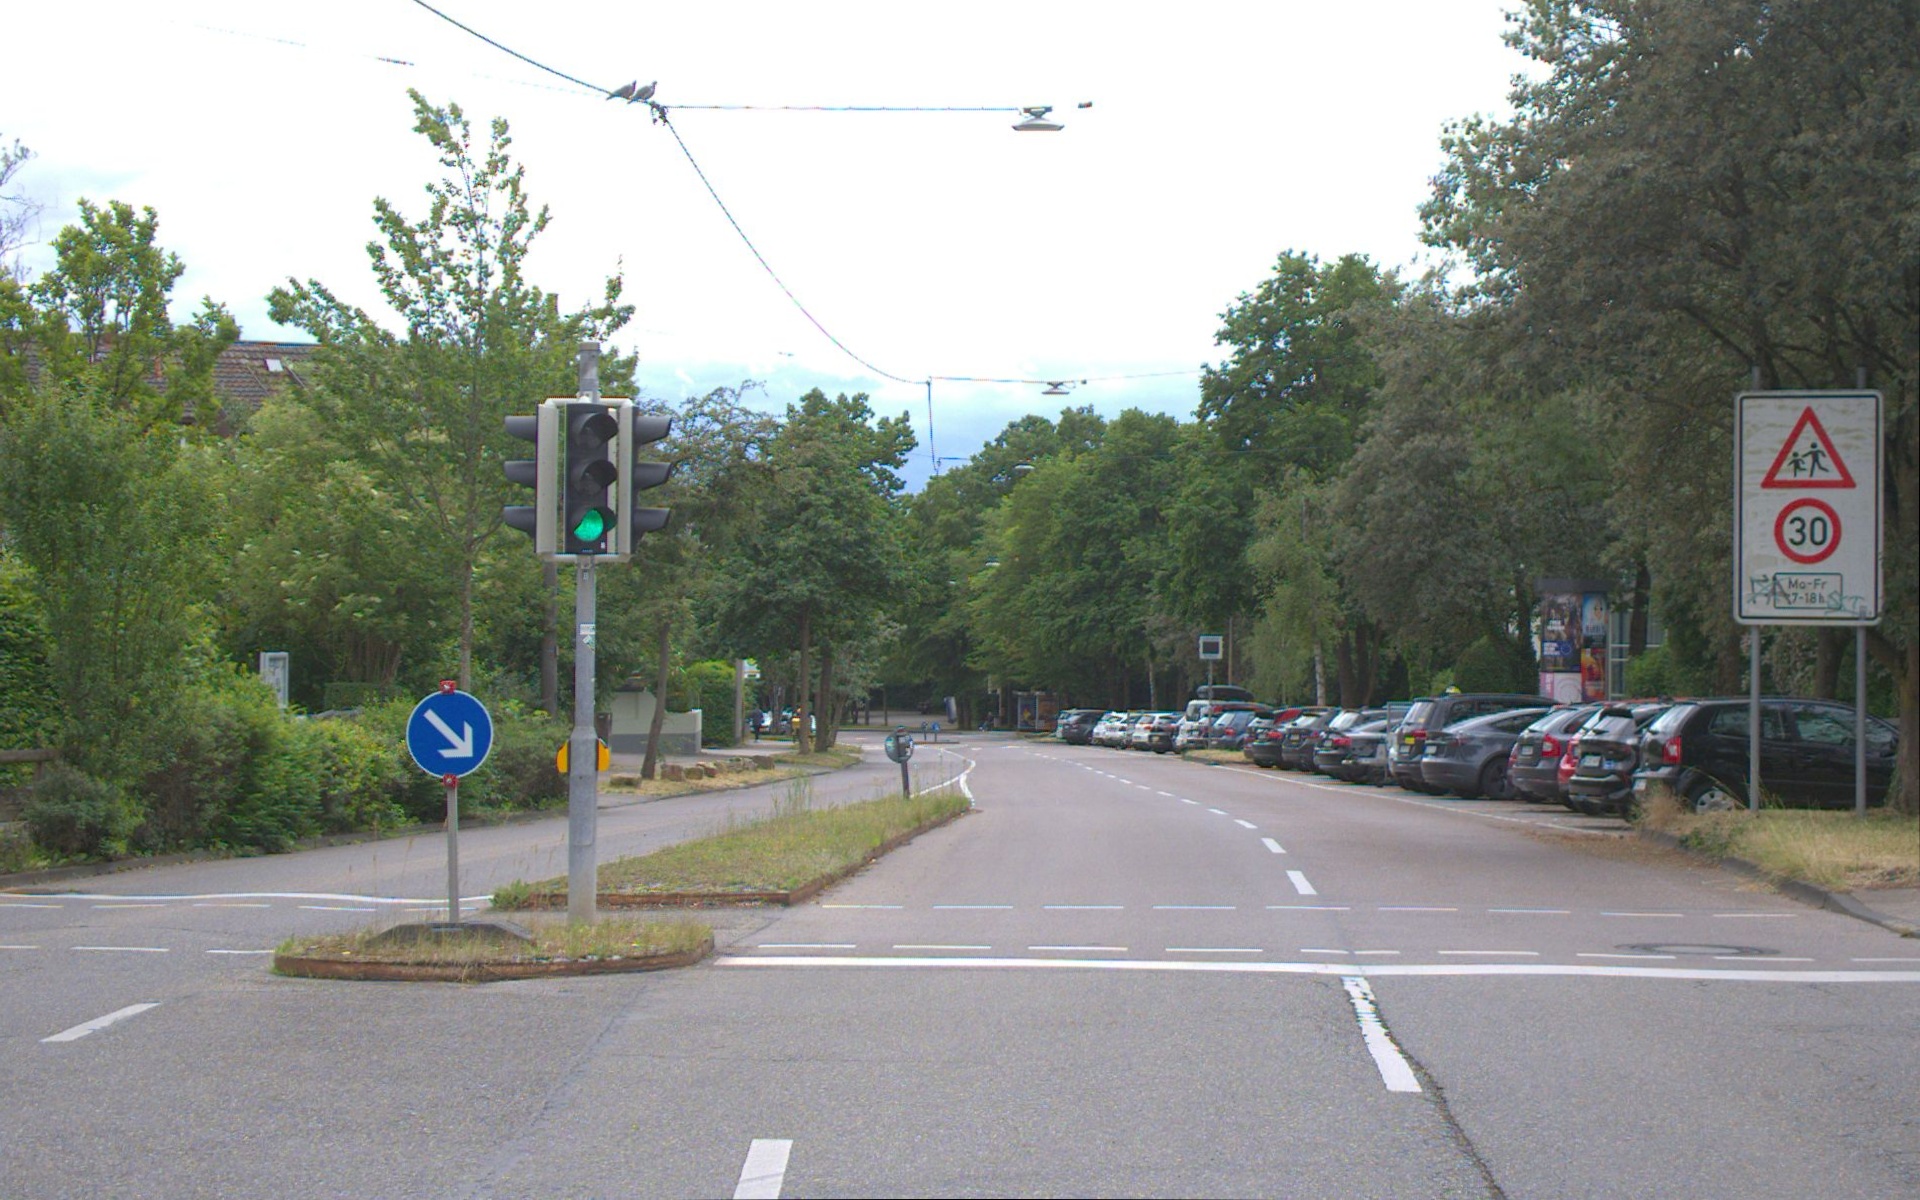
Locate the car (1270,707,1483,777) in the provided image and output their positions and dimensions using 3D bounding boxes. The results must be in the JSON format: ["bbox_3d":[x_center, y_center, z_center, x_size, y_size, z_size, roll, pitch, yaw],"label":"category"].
[{"bbox_3d":[9.175,3.121,75.765,4.343,1.441,1.634,2,-2,-14],"label":"car"}]

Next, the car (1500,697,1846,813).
[{"bbox_3d":[9.515,2.068,45.995,4.218,1.459,1.635,1,-2,-8],"label":"car"}]

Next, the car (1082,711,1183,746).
[{"bbox_3d":[7.281,5.432,145.382,3.883,1.424,1.744,2,-2,-19],"label":"car"}]

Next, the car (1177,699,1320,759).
[{"bbox_3d":[9.023,4.041,107.575,4.085,1.749,1.787,2,-2,-26],"label":"car"}]

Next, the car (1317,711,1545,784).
[{"bbox_3d":[8.980,2.821,65.632,4.036,1.323,1.559,1,-3,-8],"label":"car"}]

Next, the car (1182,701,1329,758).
[{"bbox_3d":[8.991,3.939,104.650,3.995,1.614,1.885,2,-2,-15],"label":"car"}]

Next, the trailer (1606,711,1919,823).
[{"bbox_3d":[9.656,2.001,41.214,3.401,1.262,1.616,1,-3,-9],"label":"trailer"}]

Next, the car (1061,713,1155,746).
[{"bbox_3d":[6.693,5.839,155.481,3.883,1.424,1.744,2,-2,-19],"label":"car"}]

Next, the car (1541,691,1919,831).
[{"bbox_3d":[8.785,1.807,38.634,4.134,1.471,1.576,1,-2,-10],"label":"car"}]

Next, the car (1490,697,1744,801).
[{"bbox_3d":[9.713,2.205,50.933,3.325,1.459,1.635,1,-2,-9],"label":"car"}]

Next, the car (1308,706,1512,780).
[{"bbox_3d":[9.298,2.958,71.167,3.839,1.450,1.634,1,-2,-11],"label":"car"}]

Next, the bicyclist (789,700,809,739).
[{"bbox_3d":[-7.147,5.294,152.449,0.845,1.692,0.713,1,-1,-1],"label":"bicyclist"}]

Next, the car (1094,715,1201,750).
[{"bbox_3d":[7.457,5.277,136.983,3.883,1.305,1.744,2,-2,-24],"label":"car"}]

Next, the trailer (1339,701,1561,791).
[{"bbox_3d":[9.005,2.686,63.288,3.687,1.530,1.646,2,-2,-11],"label":"trailer"}]

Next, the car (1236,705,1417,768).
[{"bbox_3d":[8.961,3.340,84.120,4.070,1.510,1.734,1,-2,-21],"label":"car"}]

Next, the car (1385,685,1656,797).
[{"bbox_3d":[9.056,2.285,55.664,3.985,1.719,1.681,1,-2,-9],"label":"car"}]

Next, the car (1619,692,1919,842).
[{"bbox_3d":[8.886,1.730,35.777,3.715,1.471,1.576,1,-1,-2],"label":"car"}]

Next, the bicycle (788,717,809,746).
[{"bbox_3d":[-7.155,5.820,152.379,0.845,1.262,2.652,1,-1,-1],"label":"bicycle"}]

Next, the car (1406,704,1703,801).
[{"bbox_3d":[9.125,2.344,52.867,4.158,1.402,1.698,1,-2,-10],"label":"car"}]

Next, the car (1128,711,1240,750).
[{"bbox_3d":[8.615,5.027,132.258,3.883,1.444,1.744,2,-2,-21],"label":"car"}]

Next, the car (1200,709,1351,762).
[{"bbox_3d":[9.113,3.917,99.299,3.963,1.401,1.757,2,-2,-14],"label":"car"}]

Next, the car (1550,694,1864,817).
[{"bbox_3d":[9.430,1.963,43.475,3.522,1.471,1.592,1,-2,-11],"label":"car"}]

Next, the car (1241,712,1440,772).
[{"bbox_3d":[8.985,3.356,81.238,4.311,1.337,1.734,2,-2,-13],"label":"car"}]
